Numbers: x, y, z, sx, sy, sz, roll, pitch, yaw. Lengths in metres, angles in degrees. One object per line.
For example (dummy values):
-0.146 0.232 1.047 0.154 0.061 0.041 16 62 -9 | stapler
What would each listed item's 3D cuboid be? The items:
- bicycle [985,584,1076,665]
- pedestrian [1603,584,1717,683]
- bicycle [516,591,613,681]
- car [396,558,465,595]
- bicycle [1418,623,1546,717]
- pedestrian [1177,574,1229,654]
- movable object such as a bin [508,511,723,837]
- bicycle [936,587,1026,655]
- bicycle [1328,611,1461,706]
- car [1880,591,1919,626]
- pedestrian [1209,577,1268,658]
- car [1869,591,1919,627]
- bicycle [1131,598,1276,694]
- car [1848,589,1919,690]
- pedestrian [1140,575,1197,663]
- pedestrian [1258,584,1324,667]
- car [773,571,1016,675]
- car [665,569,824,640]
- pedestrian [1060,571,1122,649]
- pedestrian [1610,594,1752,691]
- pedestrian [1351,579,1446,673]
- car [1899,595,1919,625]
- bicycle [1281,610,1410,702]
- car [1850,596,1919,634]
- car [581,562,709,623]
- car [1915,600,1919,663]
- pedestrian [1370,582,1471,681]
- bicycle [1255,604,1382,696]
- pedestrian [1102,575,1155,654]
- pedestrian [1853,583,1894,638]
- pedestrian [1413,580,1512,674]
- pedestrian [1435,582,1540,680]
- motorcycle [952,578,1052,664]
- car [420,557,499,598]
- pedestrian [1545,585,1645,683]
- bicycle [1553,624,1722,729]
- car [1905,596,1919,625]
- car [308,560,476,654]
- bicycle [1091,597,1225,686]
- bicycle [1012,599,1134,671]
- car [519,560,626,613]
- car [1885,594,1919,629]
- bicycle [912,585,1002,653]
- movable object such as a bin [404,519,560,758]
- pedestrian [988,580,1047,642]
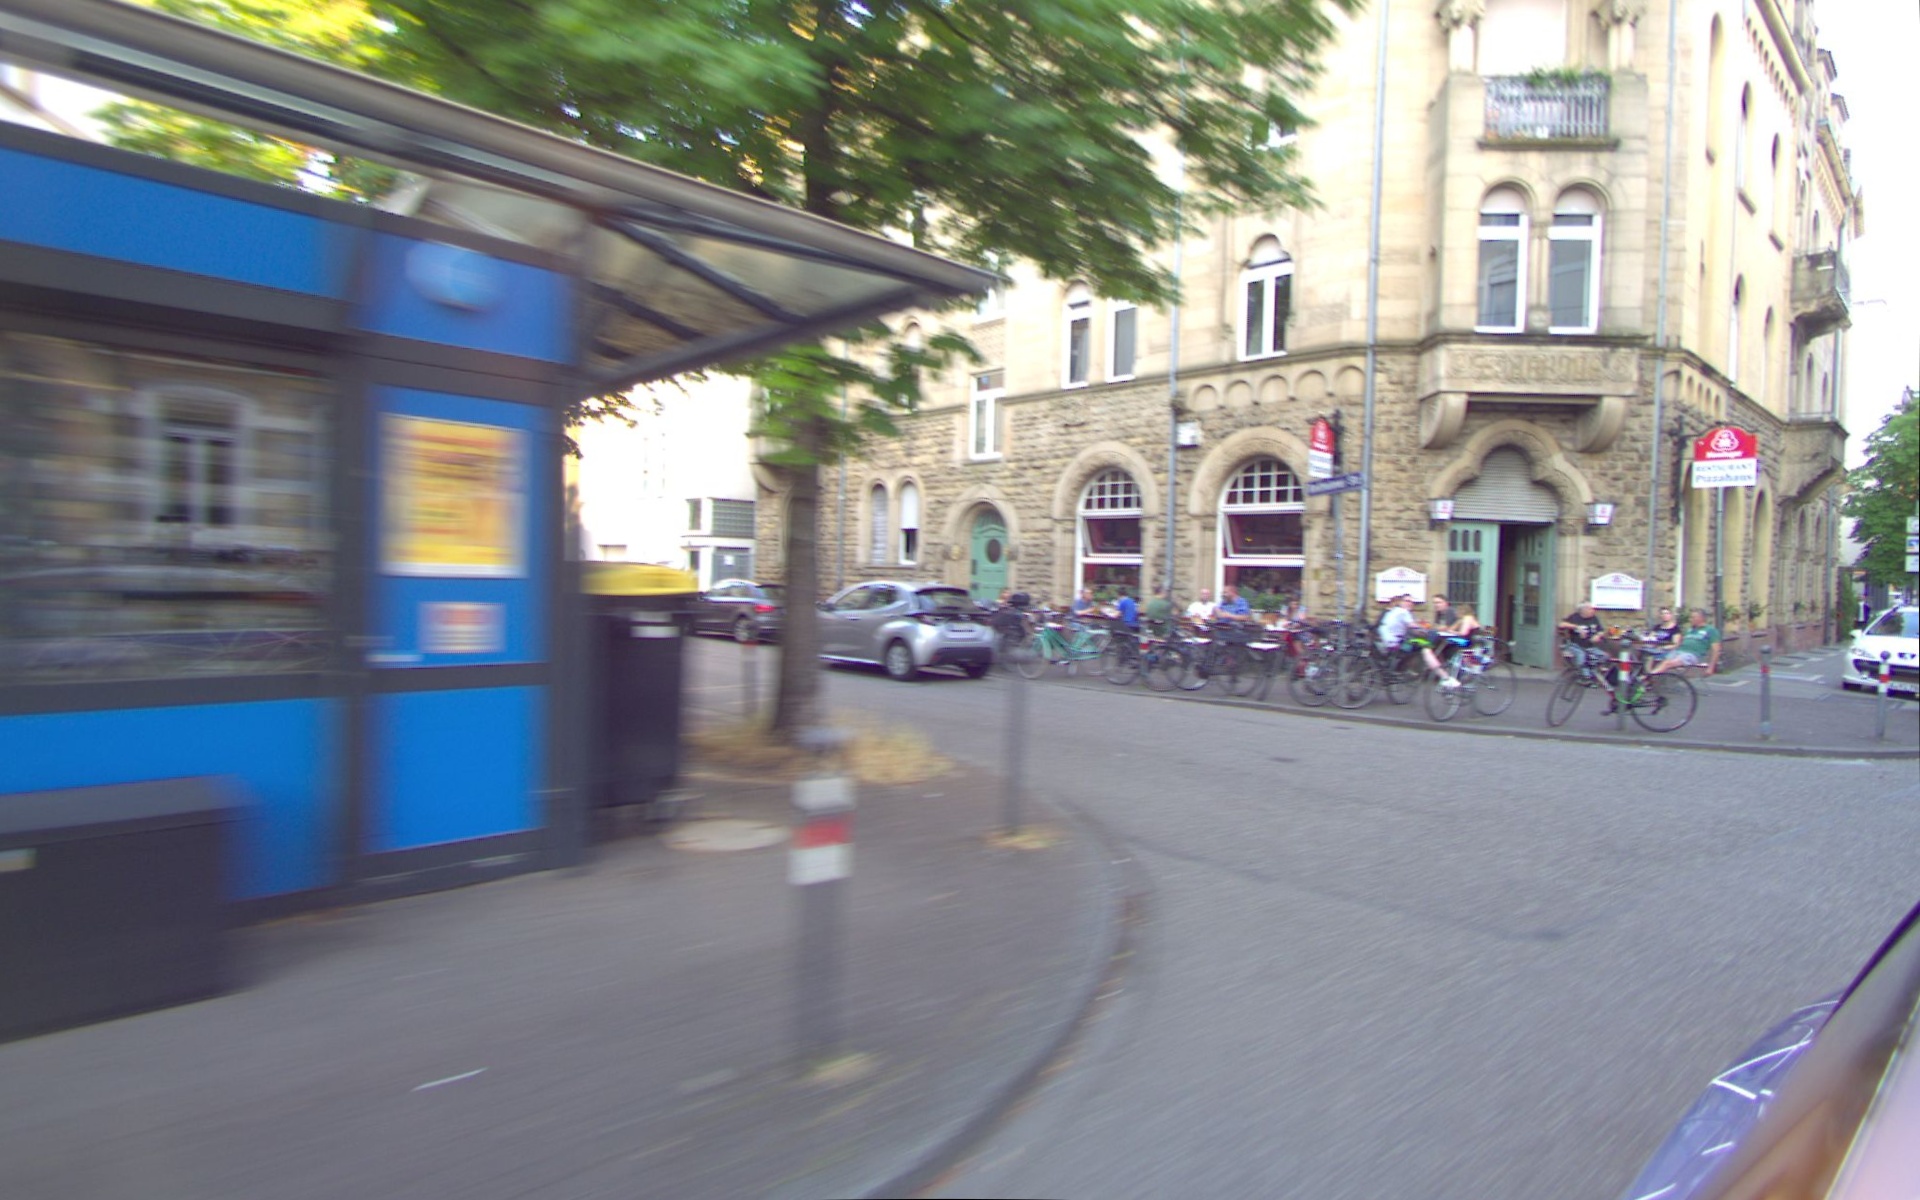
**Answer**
1.203 0.382 17.022 0.582 1.278 1.809 2 1 39 | bicycle
10.880 0.507 15.753 1.081 1.413 0.843 3 2 -7 | pedestrian
-4.991 0.413 12.717 0.569 1.008 1.737 0 2 -41 | bicycle
-22.497 -0.987 42.929 1.794 1.502 3.901 0 1 -41 | car
6.007 0.779 11.618 1.671 0.991 0.448 1 1 -30 | bicycle
4.325 0.241 18.028 0.590 1.375 0.726 2 1 44 | pedestrian
-1.865 0.305 5.371 0.751 1.493 1.227 1 4 -34 | movable object such as a bin
0.407 0.357 18.395 0.544 1.175 1.806 2 2 44 | bicycle
5.372 0.692 12.477 1.798 1.080 0.514 1 1 -30 | bicycle
48.697 0.486 50.273 1.792 1.697 4.296 0 2 -43 | car
4.807 0.290 17.487 0.729 1.337 0.656 2 1 44 | pedestrian
43.315 0.425 44.890 1.792 1.547 4.296 0 2 -43 | car
3.284 0.584 13.721 1.822 1.165 0.551 2 1 34 | bicycle
16.669 0.672 17.053 4.382 1.502 1.769 1 4 -39 | car
3.534 0.307 17.117 0.709 1.422 0.785 2 1 31 | pedestrian
5.416 0.396 16.549 0.704 1.298 0.864 2 1 42 | pedestrian
-1.164 0.269 16.287 1.851 1.401 4.032 0 2 -41 | car
-5.071 0.065 23.565 3.896 1.502 1.797 1 1 45 | car
2.502 0.176 19.336 0.900 1.443 0.703 2 1 44 | pedestrian
10.599 0.609 14.926 1.394 1.301 0.841 2 2 5 | pedestrian
6.857 0.391 15.884 1.082 1.413 0.842 0 2 -2 | pedestrian
51.054 0.577 51.797 1.792 1.555 4.296 0 2 -43 | car
4.874 0.675 12.754 1.798 1.083 0.477 1 1 -30 | bicycle
38.818 0.627 40.773 1.792 1.470 4.296 0 2 -43 | car
-8.537 -0.216 27.258 1.796 1.502 3.898 0 1 -43 | car
24.262 0.755 24.230 4.481 1.502 1.766 0 3 -44 | car
6.883 0.456 15.178 1.082 1.413 0.842 0 2 -2 | pedestrian
4.713 0.627 13.271 1.798 1.125 0.504 1 1 -30 | bicycle
3.113 0.248 18.725 0.757 1.413 0.618 -1 3 -39 | pedestrian
31.160 0.343 34.531 0.818 1.788 0.851 1 2 -39 | pedestrian
7.878 0.413 15.916 1.082 1.413 0.842 0 2 -2 | pedestrian
7.910 0.448 15.210 1.082 1.413 0.842 0 2 -2 | pedestrian
0.750 0.320 17.530 0.637 1.369 1.973 2 3 41 | motorcycle
-19.449 -0.843 39.291 1.795 1.502 3.900 0 1 -42 | car
9.770 0.502 15.615 0.881 1.414 1.011 2 1 4 | pedestrian
7.354 0.817 11.023 1.450 1.052 0.431 1 1 7 | bicycle
52.772 0.616 53.283 1.792 1.547 4.296 0 2 -43 | car
-10.327 0.086 18.269 1.796 1.502 3.899 0 1 -43 | car
2.861 0.574 14.714 1.822 1.176 0.532 2 1 34 | bicycle
1.778 0.546 15.957 1.796 1.091 0.592 1 1 -12 | bicycle
-11.858 -0.400 30.824 1.795 1.502 3.900 0 1 -42 | car
45.266 0.578 46.244 1.792 1.547 4.296 0 2 -43 | car
-0.034 0.333 18.810 0.544 1.209 1.806 2 2 44 | bicycle
-3.373 0.260 7.093 0.804 1.495 1.285 1 -3 -34 | movable object such as a bin
1.205 0.208 21.173 0.924 1.242 0.810 2 1 44 | pedestrian
